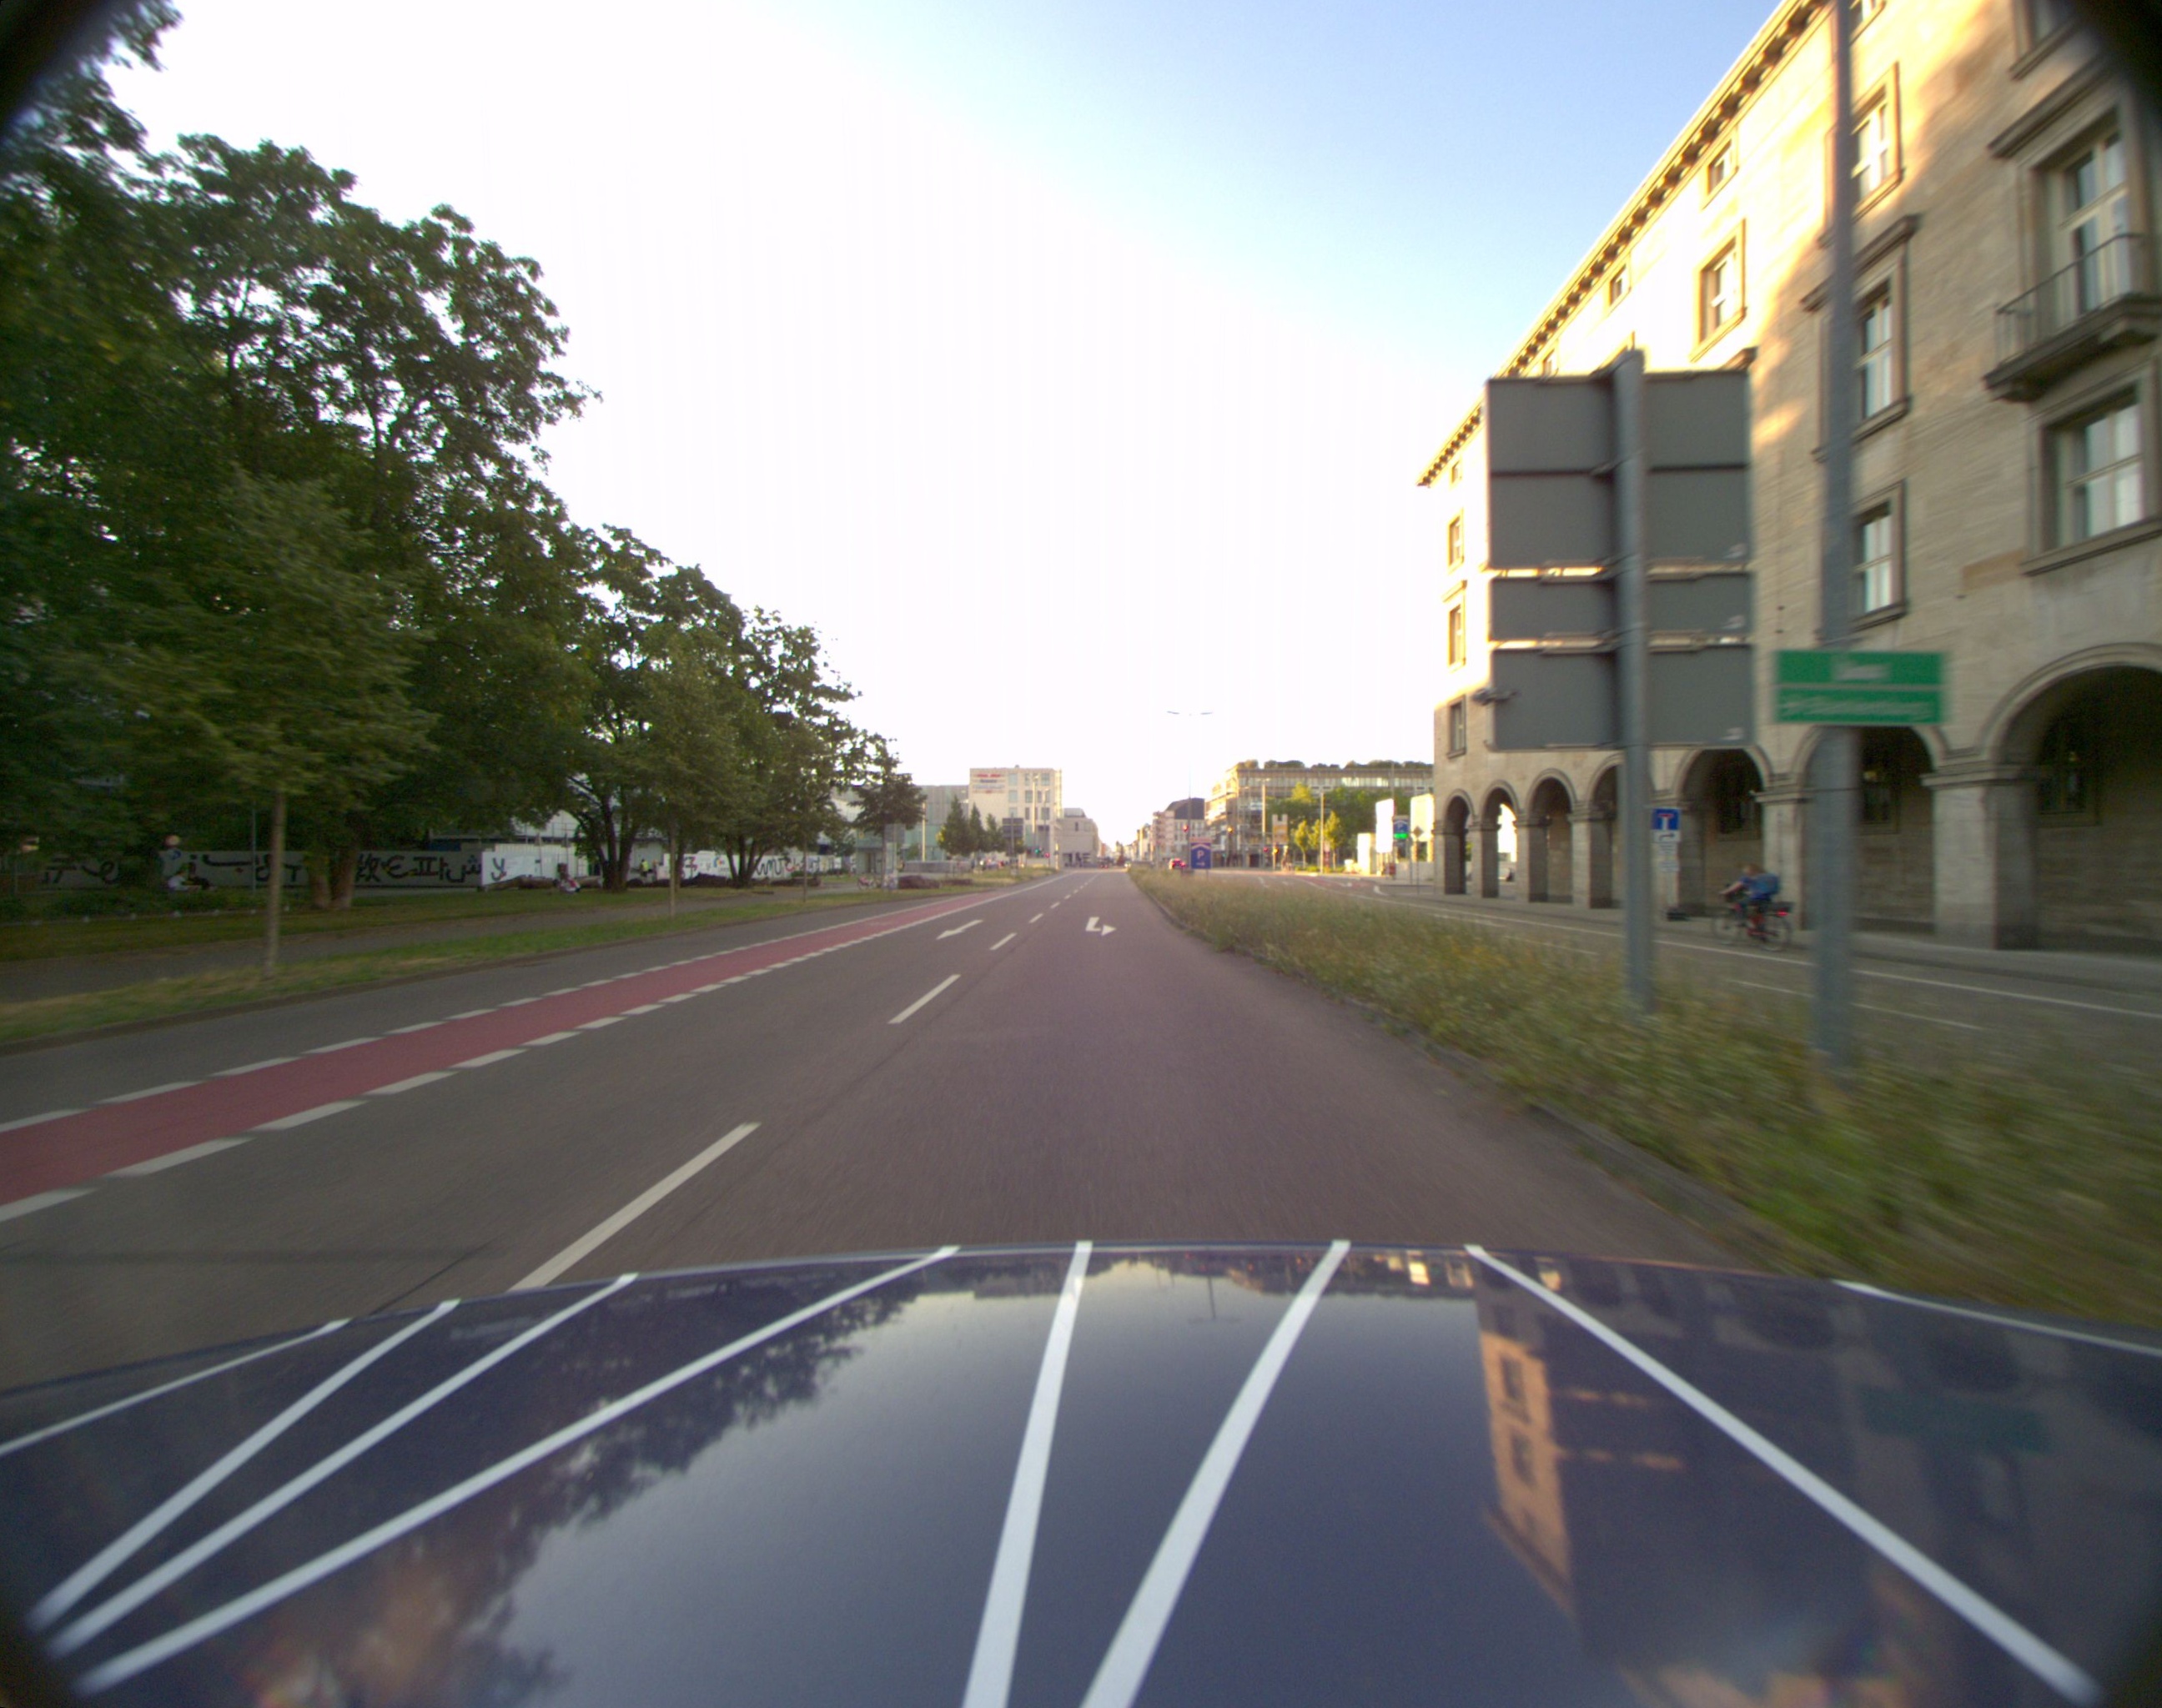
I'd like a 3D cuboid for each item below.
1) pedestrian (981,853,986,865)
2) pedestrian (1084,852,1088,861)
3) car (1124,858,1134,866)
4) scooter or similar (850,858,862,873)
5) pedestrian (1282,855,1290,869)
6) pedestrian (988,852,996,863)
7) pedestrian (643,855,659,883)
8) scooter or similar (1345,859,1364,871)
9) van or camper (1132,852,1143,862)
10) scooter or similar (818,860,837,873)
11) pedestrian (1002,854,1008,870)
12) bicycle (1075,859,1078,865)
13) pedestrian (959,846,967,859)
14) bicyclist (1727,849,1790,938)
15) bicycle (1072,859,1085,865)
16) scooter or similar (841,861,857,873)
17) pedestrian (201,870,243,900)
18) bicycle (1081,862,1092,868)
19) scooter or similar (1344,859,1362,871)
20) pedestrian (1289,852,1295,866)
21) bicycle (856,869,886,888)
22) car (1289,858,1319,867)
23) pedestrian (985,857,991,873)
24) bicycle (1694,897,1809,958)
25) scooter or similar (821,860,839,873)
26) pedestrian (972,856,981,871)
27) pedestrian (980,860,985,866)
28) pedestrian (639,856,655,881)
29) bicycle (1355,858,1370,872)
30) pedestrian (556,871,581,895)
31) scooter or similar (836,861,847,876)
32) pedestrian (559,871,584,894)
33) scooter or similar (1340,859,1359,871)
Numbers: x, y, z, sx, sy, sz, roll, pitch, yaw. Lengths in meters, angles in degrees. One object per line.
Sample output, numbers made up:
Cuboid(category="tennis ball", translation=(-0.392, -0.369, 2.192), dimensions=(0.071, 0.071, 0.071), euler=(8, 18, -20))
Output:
Cuboid(category="pedestrian", translation=(-15.717, 0.806, 122.339), dimensions=(0.604, 1.843, 0.587), euler=(0, 0, 8))
Cuboid(category="pedestrian", translation=(0.987, 0.437, 155.997), dimensions=(0.764, 1.693, 0.835), euler=(0, -8, 1))
Cuboid(category="car", translation=(10.376, 1.694, 164.565), dimensions=(2.071, 1.642, 4.000), euler=(0, 2, 4))
Cuboid(category="scooter or similar", translation=(-18.156, 0.903, 61.438), dimensions=(0.424, 1.213, 1.399), euler=(2, 0, 3))
Cuboid(category="pedestrian", translation=(26.959, 1.078, 100.090), dimensions=(0.874, 1.826, 0.776), euler=(0, 0, 4))
Cuboid(category="pedestrian", translation=(-14.517, 0.541, 123.936), dimensions=(0.896, 1.843, 0.724), euler=(2, 2, -31))
Cuboid(category="pedestrian", translation=(-29.499, 1.006, 52.133), dimensions=(0.768, 1.908, 0.601), euler=(0, 0, 17))
Cuboid(category="scooter or similar", translation=(28.830, 1.162, 80.021), dimensions=(1.840, 1.297, 0.423), euler=(0, 0, -3))
Cuboid(category="van or camper", translation=(14.831, 0.746, 198.805), dimensions=(2.232, 2.650, 6.163), euler=(0, -1, -2))
Cuboid(category="scooter or similar", translation=(-24.586, 1.253, 73.704), dimensions=(1.573, 1.213, 0.474), euler=(-2, 1, 0))
Cuboid(category="pedestrian", translation=(-9.303, 0.968, 93.309), dimensions=(0.644, 1.922, 0.619), euler=(0, 0, 3))
Cuboid(category="bicycle", translation=(-1.007, 1.667, 163.781), dimensions=(0.618, 1.316, 2.509), euler=(0, 0, 1))
Cuboid(category="pedestrian", translation=(-13.689, -0.116, 88.228), dimensions=(0.762, 1.481, 0.645), euler=(0, -2, 1))
Cuboid(category="bicyclist", translation=(13.050, 0.745, 14.659), dimensions=(0.537, 1.683, 0.748), euler=(0, 1, 3))
Cuboid(category="bicycle", translation=(-0.519, 1.729, 165.943), dimensions=(2.804, 1.209, 0.765), euler=(0, 0, 12))
Cuboid(category="scooter or similar", translation=(-25.050, 1.425, 82.099), dimensions=(1.573, 1.213, 0.474), euler=(-1, 1, 0))
Cuboid(category="pedestrian", translation=(-34.139, 1.220, 30.198), dimensions=(0.788, 1.157, 0.766), euler=(0, 0, -3))
Cuboid(category="bicycle", translation=(1.198, 2.620, 175.660), dimensions=(2.507, 1.316, 0.619), euler=(0, 0, 2))
Cuboid(category="scooter or similar", translation=(28.813, 1.168, 80.464), dimensions=(1.835, 1.297, 0.423), euler=(0, 0, -3))
Cuboid(category="pedestrian", translation=(27.803, 0.649, 100.322), dimensions=(0.660, 1.921, 0.648), euler=(0, -1, 4))
Cuboid(category="bicycle", translation=(-11.453, 1.330, 41.555), dimensions=(0.494, 1.000, 1.901), euler=(3, 0, 22))
Cuboid(category="car", translation=(41.850, 1.592, 142.699), dimensions=(5.159, 1.575, 2.001), euler=(0, -1, 2))
Cuboid(category="pedestrian", translation=(-11.362, 1.338, 92.886), dimensions=(0.644, 1.922, 0.619), euler=(0, 0, 5))
Cuboid(category="bicycle", translation=(13.053, 1.404, 14.873), dimensions=(0.543, 0.999, 2.005), euler=(0, 0, 2))
Cuboid(category="scooter or similar", translation=(-24.619, 1.241, 74.522), dimensions=(1.573, 1.213, 0.474), euler=(-2, 1, 0))
Cuboid(category="pedestrian", translation=(-12.974, 1.198, 94.164), dimensions=(0.816, 1.804, 1.047), euler=(0, -1, 8))
Cuboid(category="pedestrian", translation=(-15.630, 1.492, 120.441), dimensions=(0.649, 0.957, 0.654), euler=(0, 0, -3))
Cuboid(category="pedestrian", translation=(-30.526, 1.019, 53.497), dimensions=(0.768, 1.810, 0.601), euler=(0, 0, 17))
Cuboid(category="bicycle", translation=(28.914, 1.123, 78.014), dimensions=(0.618, 1.316, 2.509), euler=(0, 0, 1))
Cuboid(category="pedestrian", translation=(-19.767, 1.114, 29.333), dimensions=(0.682, 0.879, 0.592), euler=(0, 0, -22))
Cuboid(category="scooter or similar", translation=(-19.340, 1.153, 61.412), dimensions=(0.474, 1.213, 1.574), euler=(2, 0, -4))
Cuboid(category="pedestrian", translation=(-20.034, 1.117, 29.878), dimensions=(0.682, 0.879, 0.622), euler=(0, 0, -21))
Cuboid(category="scooter or similar", translation=(28.752, 1.169, 81.456), dimensions=(1.863, 1.297, 0.500), euler=(0, 0, -3))
